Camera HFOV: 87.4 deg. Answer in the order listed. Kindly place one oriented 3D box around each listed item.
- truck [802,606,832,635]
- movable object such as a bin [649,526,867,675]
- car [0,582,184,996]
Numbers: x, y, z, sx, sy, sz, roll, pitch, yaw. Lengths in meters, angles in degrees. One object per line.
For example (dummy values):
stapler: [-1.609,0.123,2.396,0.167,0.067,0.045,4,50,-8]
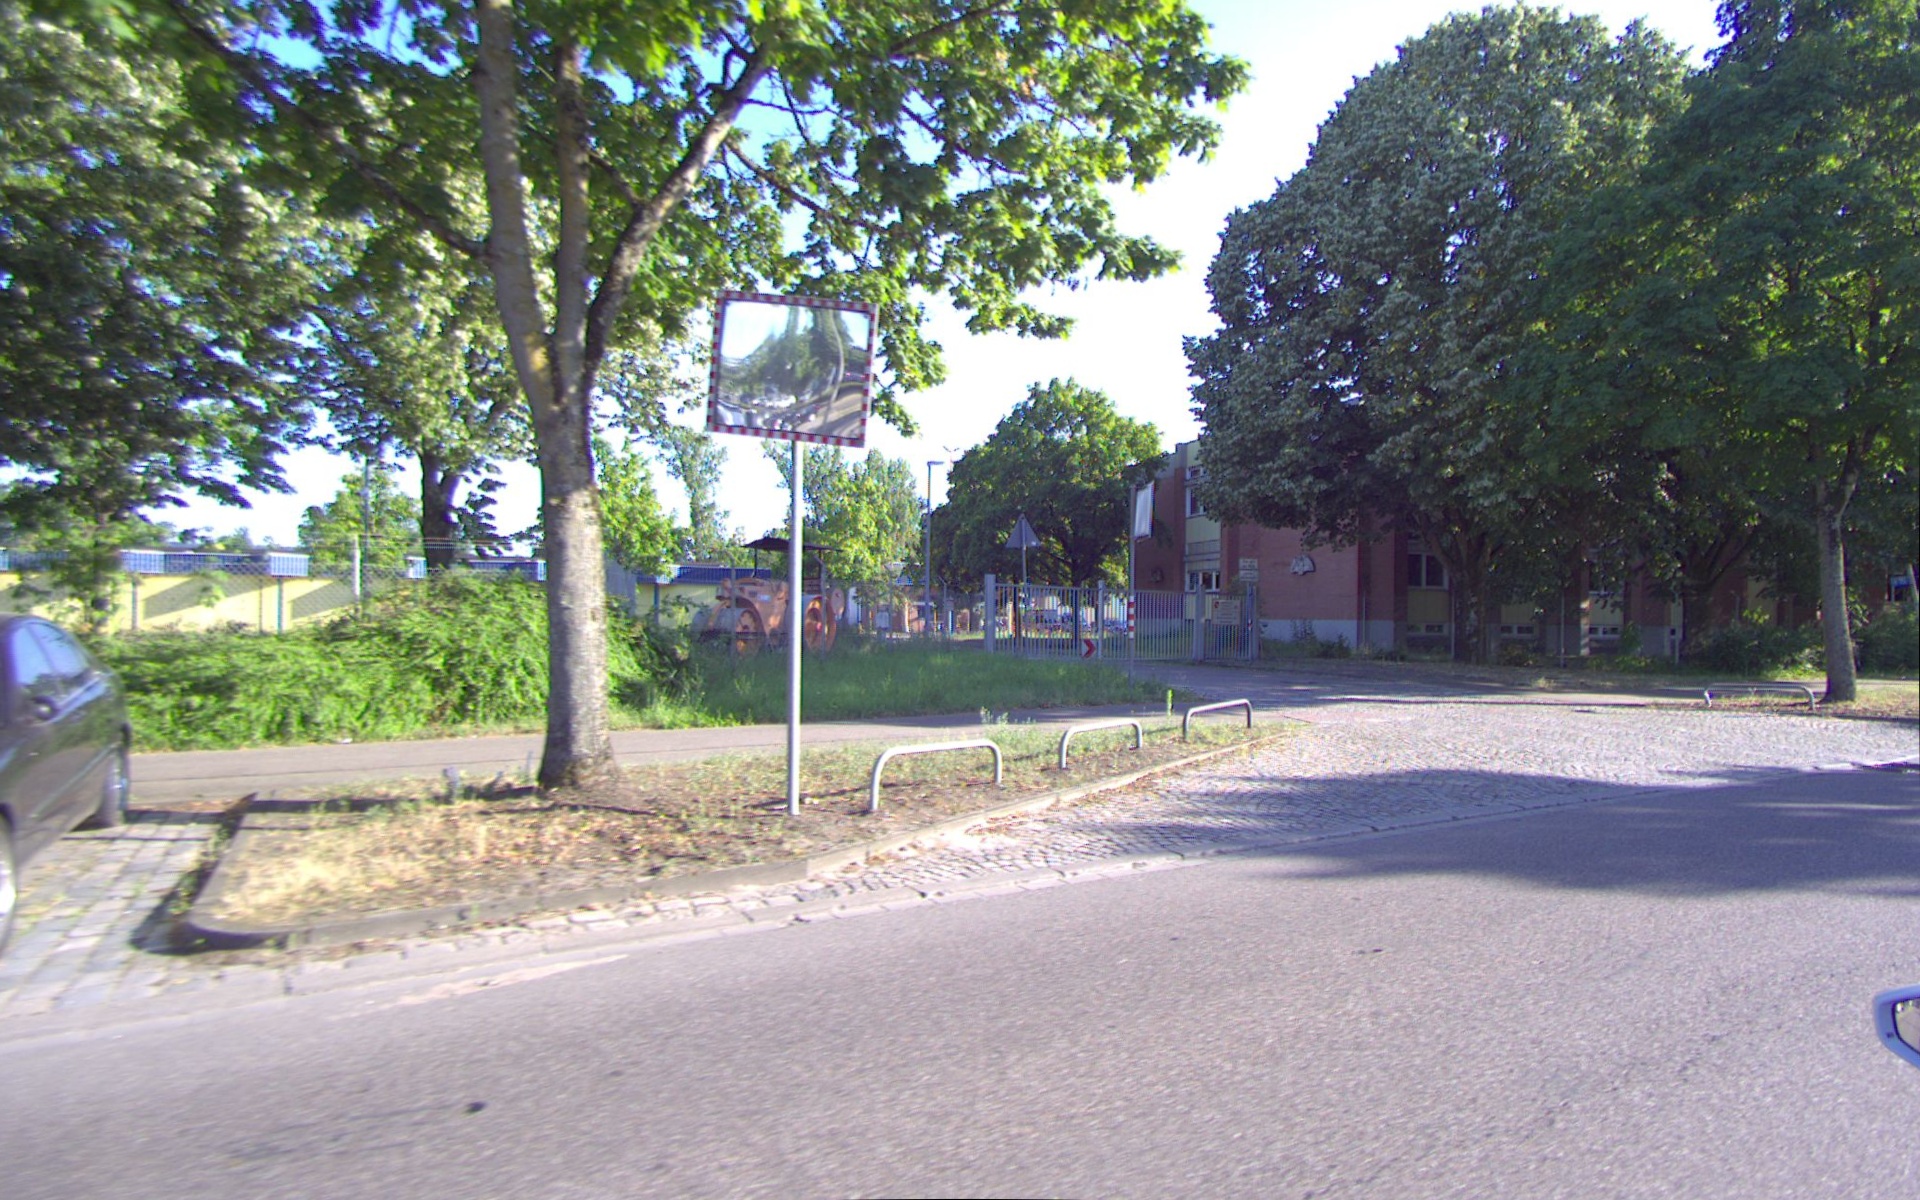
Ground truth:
truck: [-13.383,1.898,93.888,2.251,2.619,4.989,1,-1,-14]
movable object such as a bin: [-3.990,0.068,20.852,2.123,2.699,4.803,0,-1,22]
car: [-5.664,0.665,5.266,1.978,1.481,5.007,1,0,-32]
